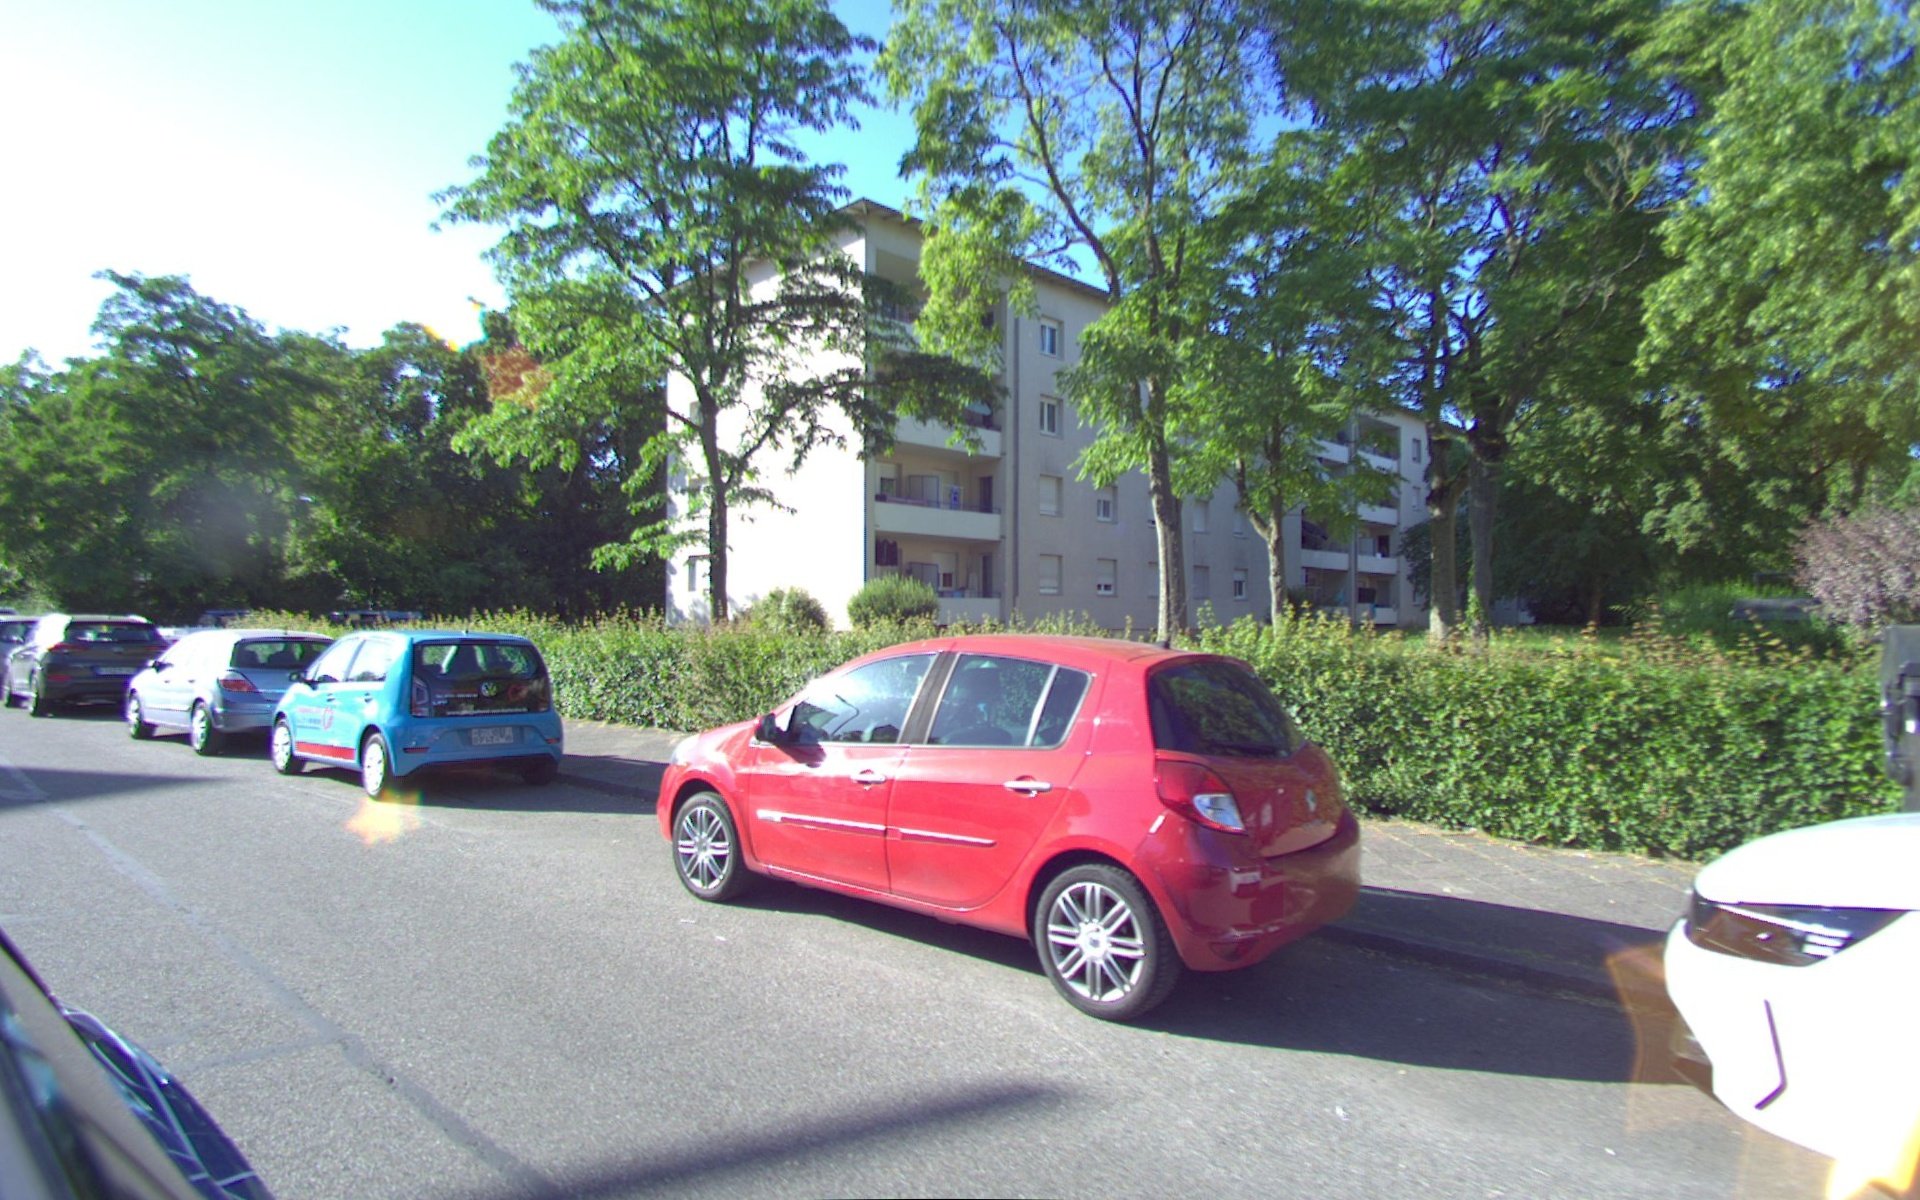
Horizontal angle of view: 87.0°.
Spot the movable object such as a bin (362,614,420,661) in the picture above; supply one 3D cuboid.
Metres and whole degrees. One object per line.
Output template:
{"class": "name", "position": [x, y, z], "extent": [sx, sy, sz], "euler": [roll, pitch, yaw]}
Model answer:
{"class": "movable object such as a bin", "position": [-18.956, 1.236, 33.714], "extent": [1.277, 1.500, 1.247], "euler": [-1, -2, 35]}

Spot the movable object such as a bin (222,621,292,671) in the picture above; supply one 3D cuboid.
{"class": "movable object such as a bin", "position": [-20.469, 1.329, 29.486], "extent": [1.258, 1.412, 1.266], "euler": [-1, -2, 32]}

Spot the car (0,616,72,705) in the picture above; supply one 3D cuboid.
{"class": "car", "position": [-20.318, 1.236, 21.298], "extent": [4.332, 1.736, 1.541], "euler": [-1, -2, 36]}

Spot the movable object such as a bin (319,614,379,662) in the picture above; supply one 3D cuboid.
{"class": "movable object such as a bin", "position": [-19.675, 1.219, 32.613], "extent": [1.277, 1.500, 1.247], "euler": [-1, -2, 35]}

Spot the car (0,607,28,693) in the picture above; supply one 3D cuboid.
{"class": "car", "position": [-24.335, 1.181, 24.292], "extent": [4.658, 1.976, 1.848], "euler": [-1, -2, 34]}

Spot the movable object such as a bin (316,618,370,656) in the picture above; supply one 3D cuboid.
{"class": "movable object such as a bin", "position": [-22.502, 1.332, 36.924], "extent": [1.509, 1.365, 1.262], "euler": [-1, -2, 41]}

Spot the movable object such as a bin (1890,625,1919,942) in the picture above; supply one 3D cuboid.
{"class": "movable object such as a bin", "position": [5.205, 0.861, 4.522], "extent": [1.406, 1.510, 1.100], "euler": [-2, -3, 38]}

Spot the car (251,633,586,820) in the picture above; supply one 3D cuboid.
{"class": "car", "position": [-5.460, 1.102, 10.047], "extent": [3.675, 1.485, 1.653], "euler": [-1, -3, 40]}

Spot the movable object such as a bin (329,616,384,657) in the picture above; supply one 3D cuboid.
{"class": "movable object such as a bin", "position": [-21.344, 1.289, 35.796], "extent": [1.509, 1.419, 1.262], "euler": [-1, -2, 41]}

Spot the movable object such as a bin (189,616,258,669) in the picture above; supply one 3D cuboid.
{"class": "movable object such as a bin", "position": [-22.105, 1.260, 30.379], "extent": [1.274, 1.563, 1.250], "euler": [-1, -2, 28]}

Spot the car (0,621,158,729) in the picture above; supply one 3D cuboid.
{"class": "car", "position": [-15.426, 1.194, 17.359], "extent": [4.358, 1.630, 1.731], "euler": [-1, -2, 40]}

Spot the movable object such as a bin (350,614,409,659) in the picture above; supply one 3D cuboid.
{"class": "movable object such as a bin", "position": [-19.982, 1.246, 34.849], "extent": [1.507, 1.500, 1.264], "euler": [-1, -2, 37]}

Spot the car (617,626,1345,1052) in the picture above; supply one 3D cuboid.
{"class": "car", "position": [-0.072, 0.909, 5.420], "extent": [3.675, 1.485, 1.653], "euler": [-1, -3, 40]}

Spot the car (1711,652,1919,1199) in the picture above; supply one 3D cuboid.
{"class": "car", "position": [3.916, 0.851, 1.886], "extent": [3.900, 1.432, 1.652], "euler": [-1, -3, 42]}

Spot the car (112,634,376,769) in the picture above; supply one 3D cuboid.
{"class": "car", "position": [-9.312, 1.200, 13.060], "extent": [3.994, 1.448, 1.654], "euler": [-1, -3, 38]}
